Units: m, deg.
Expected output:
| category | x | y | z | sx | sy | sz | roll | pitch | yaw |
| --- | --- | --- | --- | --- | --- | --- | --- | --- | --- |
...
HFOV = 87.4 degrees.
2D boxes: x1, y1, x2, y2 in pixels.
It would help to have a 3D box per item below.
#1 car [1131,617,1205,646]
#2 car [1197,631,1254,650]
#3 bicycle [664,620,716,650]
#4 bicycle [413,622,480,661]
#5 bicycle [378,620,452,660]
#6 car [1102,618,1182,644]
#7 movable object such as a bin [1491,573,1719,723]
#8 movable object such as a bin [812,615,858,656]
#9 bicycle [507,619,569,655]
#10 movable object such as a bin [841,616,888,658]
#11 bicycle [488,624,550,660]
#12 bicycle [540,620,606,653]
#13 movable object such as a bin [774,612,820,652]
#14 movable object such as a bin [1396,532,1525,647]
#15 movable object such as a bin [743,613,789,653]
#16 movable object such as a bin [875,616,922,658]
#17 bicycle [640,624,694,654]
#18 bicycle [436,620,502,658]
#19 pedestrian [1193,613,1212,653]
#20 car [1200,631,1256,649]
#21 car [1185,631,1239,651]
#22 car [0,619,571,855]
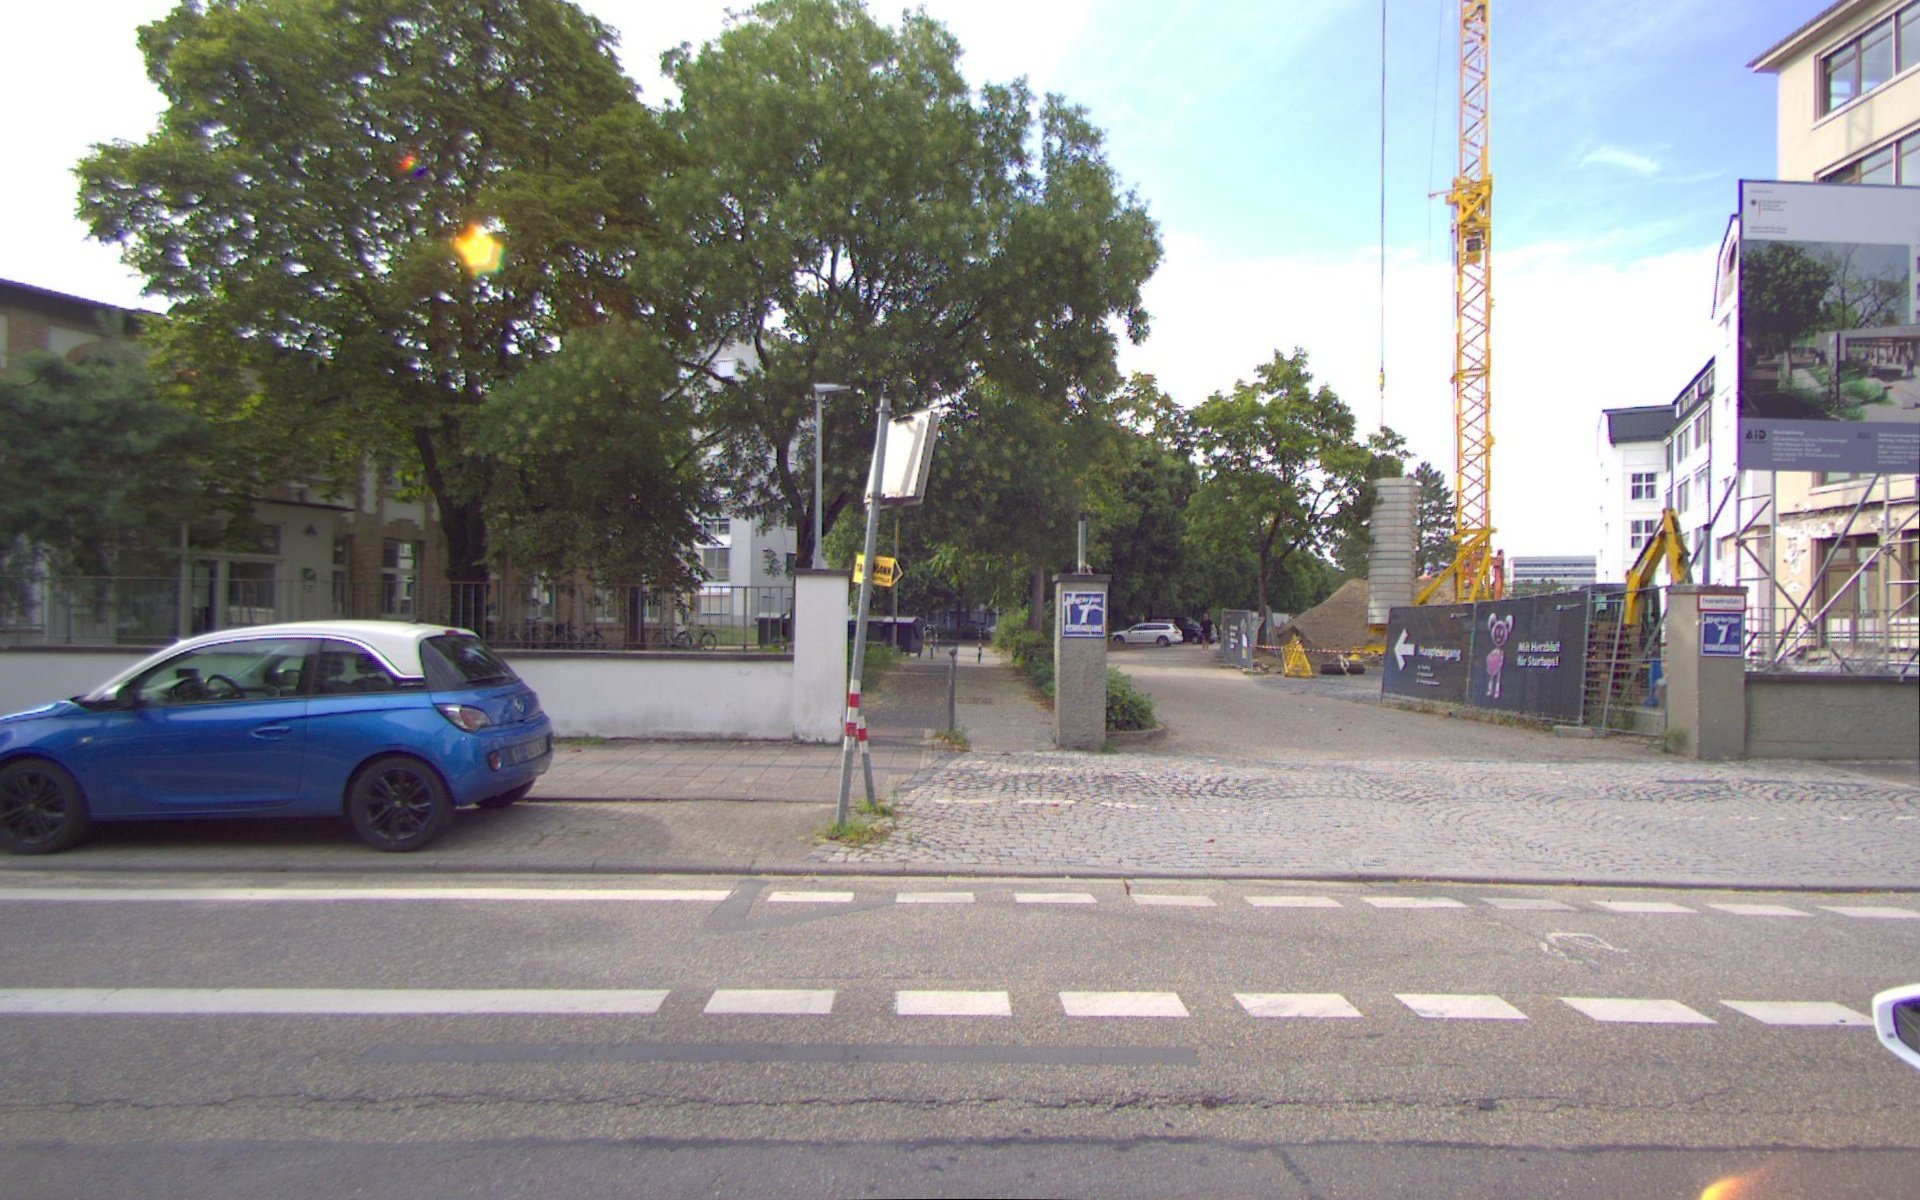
| category | x | y | z | sx | sy | sz | roll | pitch | yaw |
| --- | --- | --- | --- | --- | --- | --- | --- | --- | --- |
| car | 15.315 | 2.325 | 73.961 | 4.965 | 1.979 | 1.999 | 1 | -1 | 24 |
| car | 23.252 | 3.547 | 87.916 | 4.713 | 1.508 | 2.000 | 1 | -1 | 20 |
| bicycle | -10.302 | 1.325 | 38.294 | 1.940 | 1.057 | 0.594 | 1 | 0 | 23 |
| bicycle | -14.672 | 1.174 | 28.709 | 1.940 | 1.057 | 0.594 | 1 | 0 | 23 |
| bicycle | -15.139 | 1.109 | 27.914 | 1.938 | 1.057 | 0.595 | 1 | 0 | 16 |
| car | 11.447 | 1.950 | 63.135 | 4.713 | 1.508 | 2.000 | 1 | -1 | 20 |
| movable object such as a bin | 11.699 | 0.834 | 18.518 | 2.447 | 2.475 | 3.063 | 1 | -1 | 8 |
| movable object such as a bin | -4.588 | 1.297 | 36.839 | 1.260 | 1.449 | 1.121 | 1 | -1 | 25 |
| bicycle | -13.318 | 1.159 | 31.678 | 1.940 | 1.057 | 0.594 | 1 | 0 | 23 |
| movable object such as a bin | -3.433 | 1.313 | 36.152 | 1.260 | 1.449 | 1.121 | 1 | -1 | 25 |
| bicycle | -13.589 | 1.288 | 30.938 | 1.940 | 1.057 | 0.594 | 1 | 0 | 23 |
| bicycle | -12.880 | 1.200 | 33.457 | 1.939 | 1.057 | 0.594 | 1 | 0 | -1 |
| movable object such as a bin | -6.065 | 1.180 | 37.389 | 1.260 | 1.449 | 1.121 | 1 | -1 | 25 |
| movable object such as a bin | 32.182 | -0.457 | 64.253 | 10.911 | 6.758 | 3.808 | 2 | -1 | -43 |
| movable object such as a bin | -7.312 | 1.251 | 37.966 | 1.260 | 1.449 | 1.121 | 1 | -1 | 25 |
| movable object such as a bin | -2.158 | 1.293 | 35.301 | 1.260 | 1.449 | 1.121 | 1 | -1 | 25 |
| bicycle | -10.802 | 1.419 | 37.028 | 1.940 | 1.057 | 0.594 | 1 | 0 | 23 |
| bicycle | -14.398 | 1.130 | 29.446 | 1.940 | 1.057 | 0.594 | 1 | 0 | 23 |
| pedestrian | 11.090 | 1.502 | 45.843 | 0.735 | 1.813 | 0.731 | 1 | -1 | 20 |
| car | 24.171 | 3.574 | 90.620 | 4.713 | 1.508 | 2.000 | 1 | -1 | 20 |
| car | 21.353 | 3.480 | 85.166 | 4.262 | 1.563 | 1.753 | 1 | -1 | 20 |
| car | -4.893 | 0.901 | 7.236 | 3.533 | 1.484 | 1.633 | 1 | -1 | -3 |
